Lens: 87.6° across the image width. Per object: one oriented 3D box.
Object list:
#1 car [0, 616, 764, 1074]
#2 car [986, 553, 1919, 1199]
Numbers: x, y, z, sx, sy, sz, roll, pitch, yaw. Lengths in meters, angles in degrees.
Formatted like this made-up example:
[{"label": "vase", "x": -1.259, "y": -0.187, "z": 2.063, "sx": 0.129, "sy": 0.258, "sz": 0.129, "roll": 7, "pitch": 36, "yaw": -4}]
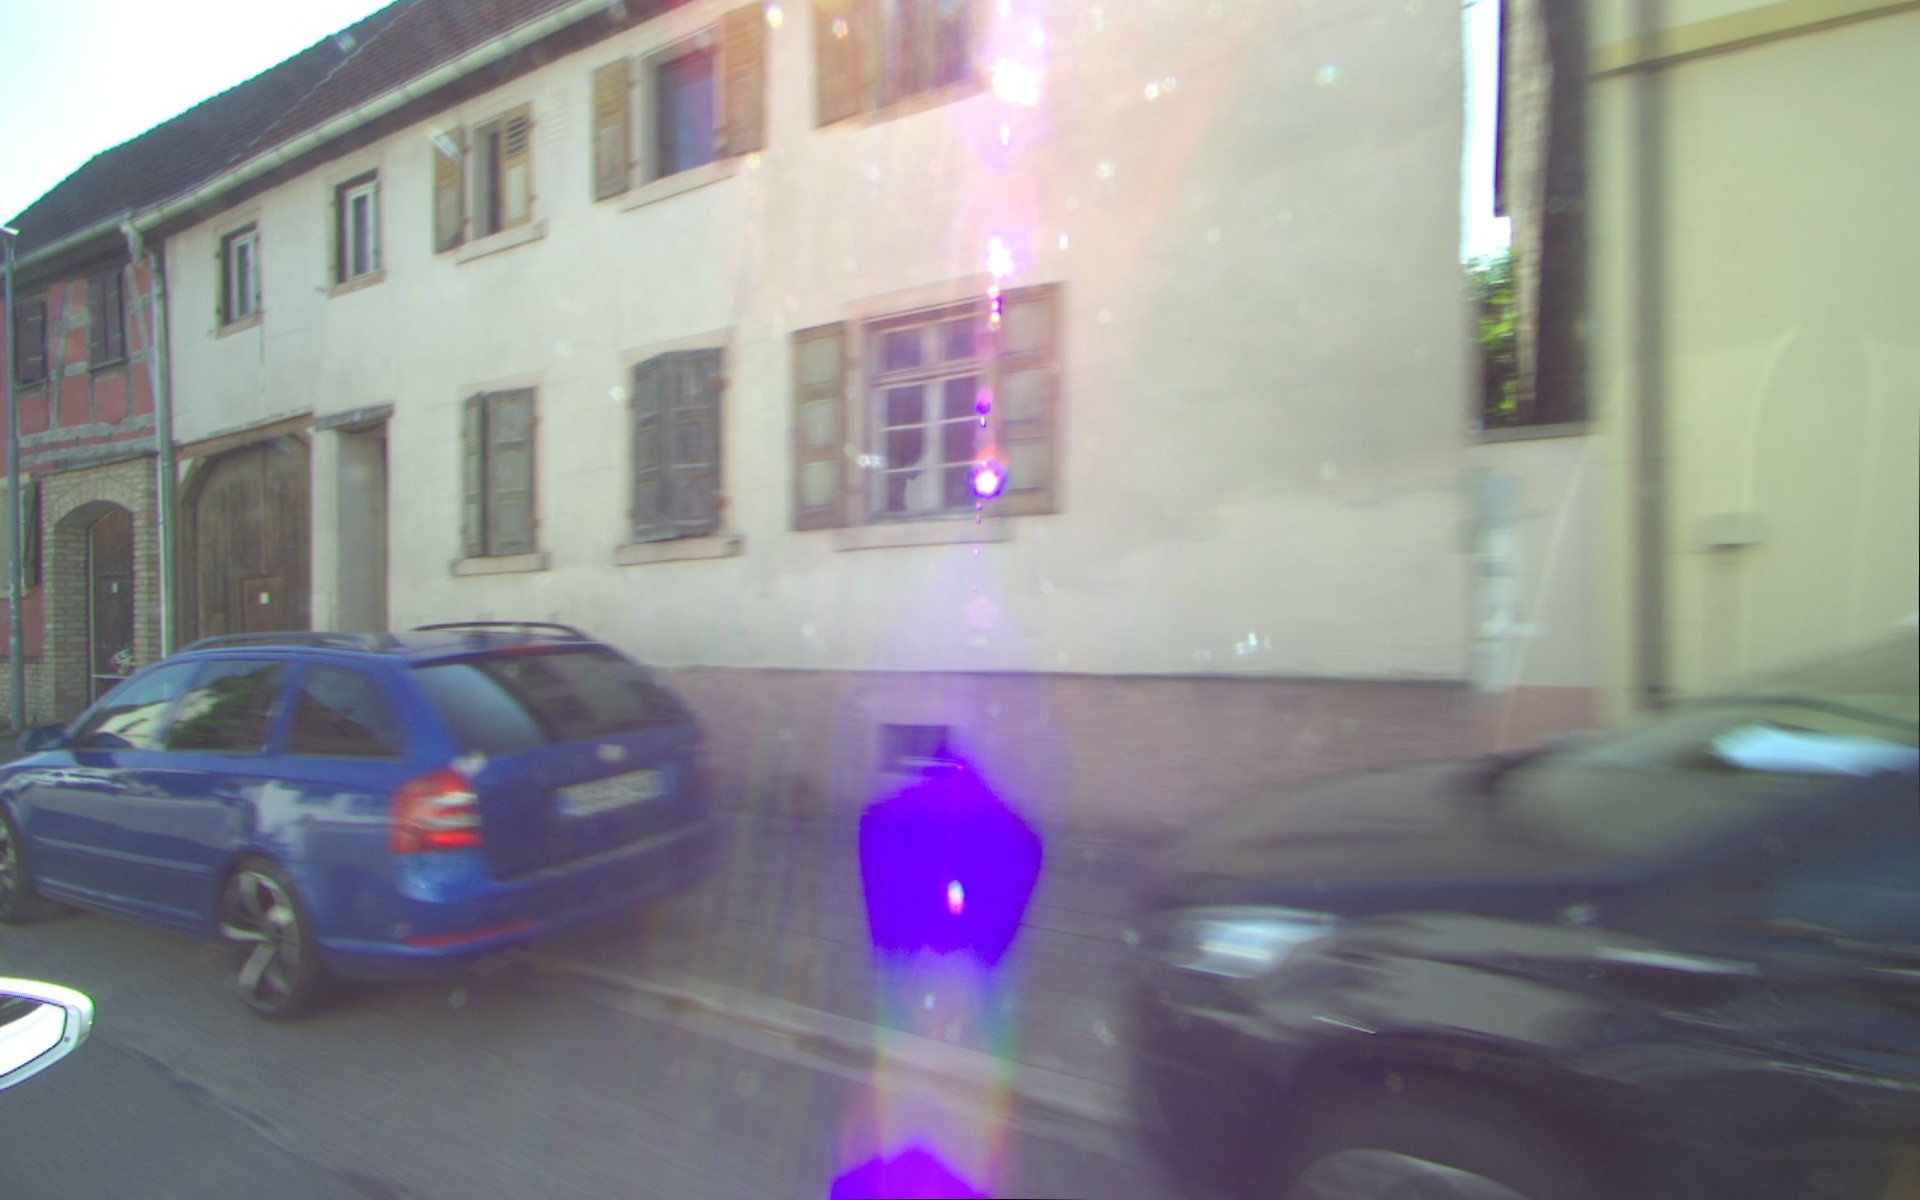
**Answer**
[{"label": "car", "x": -3.237, "y": 0.855, "z": 5.120, "sx": 4.344, "sy": 1.489, "sz": 1.696, "roll": -1, "pitch": 0, "yaw": 30}, {"label": "car", "x": 2.191, "y": 0.732, "z": 1.871, "sx": 3.968, "sy": 1.604, "sz": 1.696, "roll": -1, "pitch": 0, "yaw": 31}]
